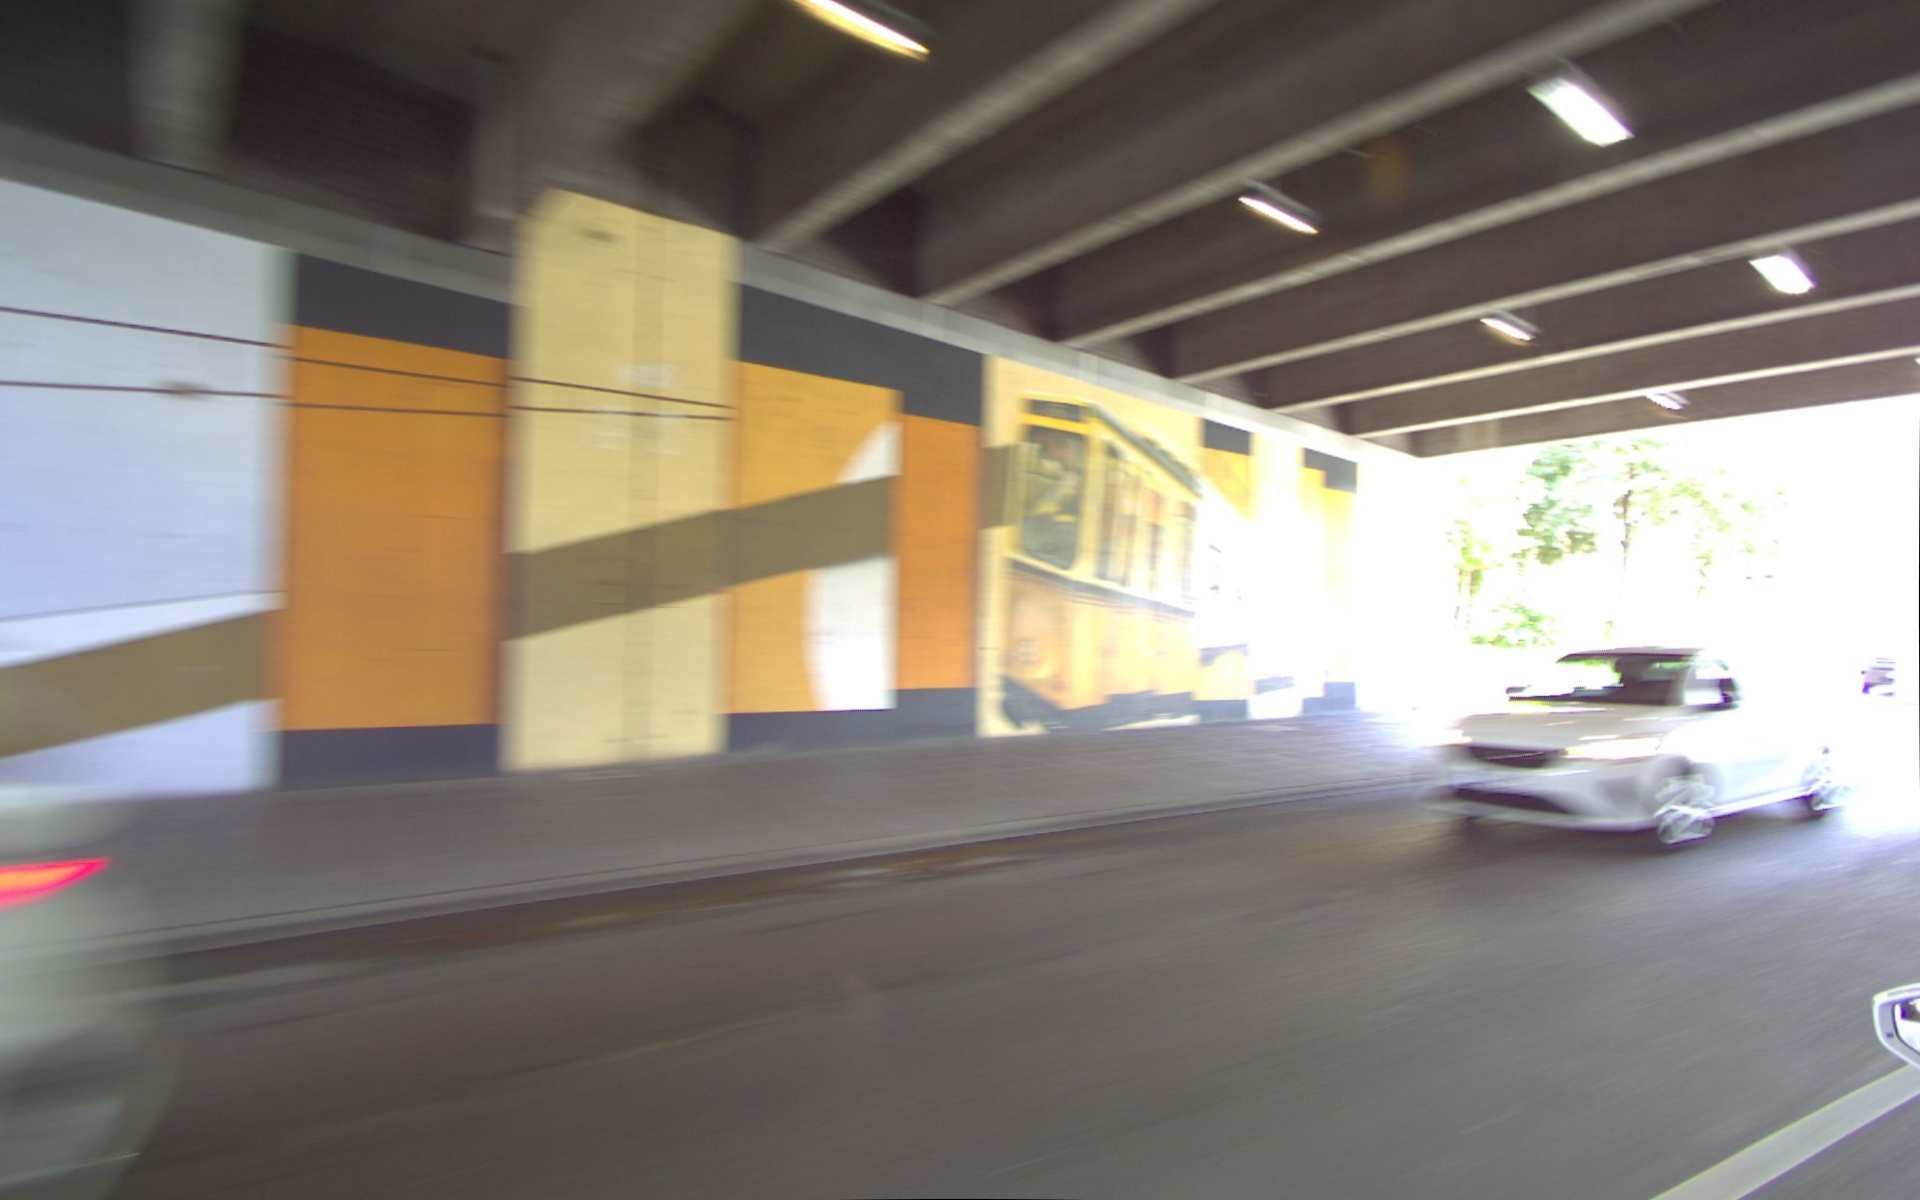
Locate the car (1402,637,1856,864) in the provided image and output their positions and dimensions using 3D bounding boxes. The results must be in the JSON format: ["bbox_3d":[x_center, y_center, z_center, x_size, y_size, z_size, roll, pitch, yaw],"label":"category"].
[{"bbox_3d":[5.542,1.051,8.226,3.810,1.466,1.663,2,-3,-32],"label":"car"}]

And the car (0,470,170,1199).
[{"bbox_3d":[-3.679,0.602,1.199,4.174,1.675,1.813,2,-3,-36],"label":"car"}]

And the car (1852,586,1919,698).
[{"bbox_3d":[24.867,1.064,25.684,5.876,2.641,1.953,2,0,-37],"label":"car"}]
